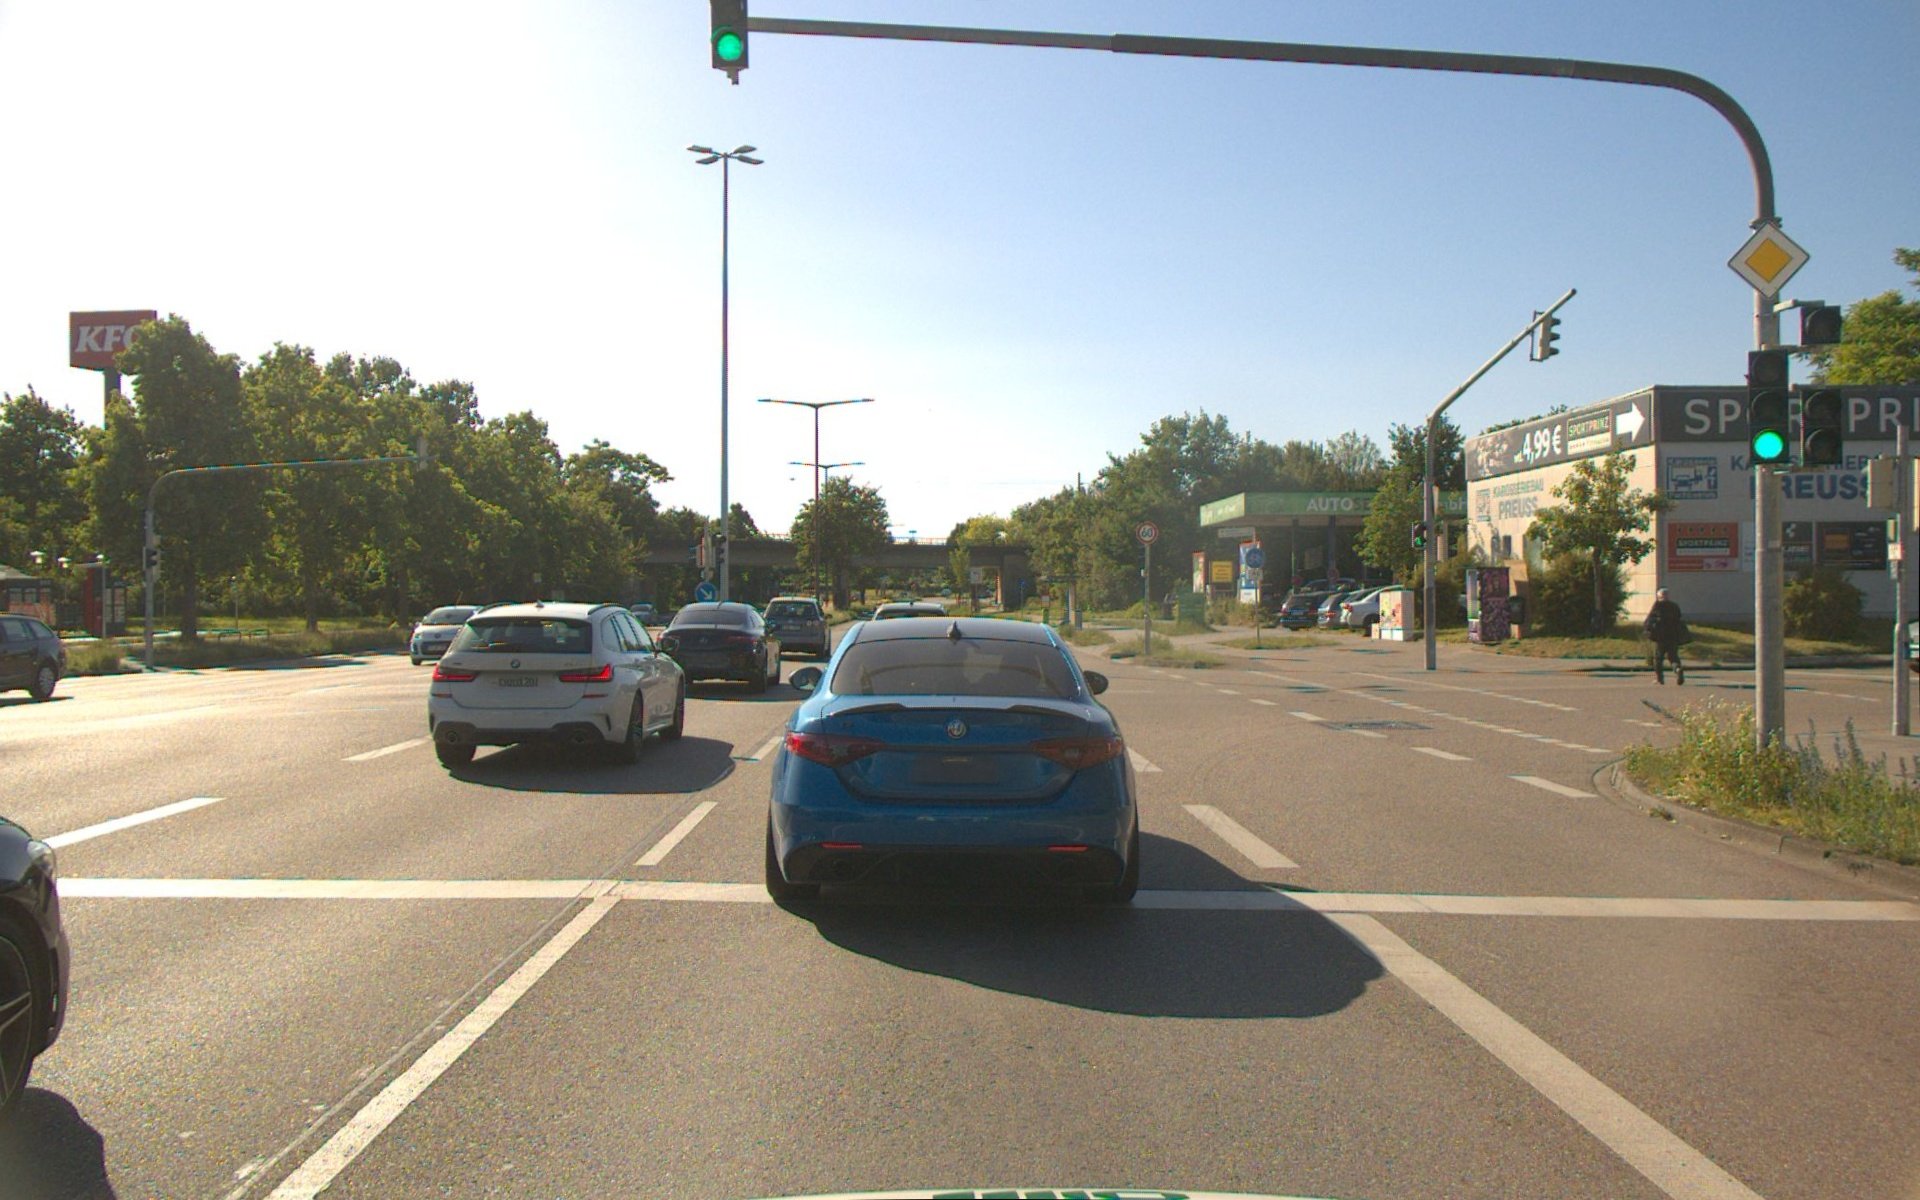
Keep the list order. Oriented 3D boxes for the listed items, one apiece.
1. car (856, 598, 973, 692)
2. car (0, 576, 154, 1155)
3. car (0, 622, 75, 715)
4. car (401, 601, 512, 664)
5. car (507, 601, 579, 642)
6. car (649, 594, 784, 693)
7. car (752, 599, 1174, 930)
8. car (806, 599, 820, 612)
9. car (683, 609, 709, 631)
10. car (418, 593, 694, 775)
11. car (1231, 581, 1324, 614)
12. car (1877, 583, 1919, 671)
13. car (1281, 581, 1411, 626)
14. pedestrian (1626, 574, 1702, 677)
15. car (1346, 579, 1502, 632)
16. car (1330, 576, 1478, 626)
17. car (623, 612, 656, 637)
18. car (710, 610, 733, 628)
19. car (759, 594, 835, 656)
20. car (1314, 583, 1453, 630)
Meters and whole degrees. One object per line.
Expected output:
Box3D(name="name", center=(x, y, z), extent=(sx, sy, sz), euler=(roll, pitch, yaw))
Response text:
Box3D(name="car", center=(-0.793, 0.729, 28.112), extent=(1.813, 1.443, 4.401), euler=(1, -1, -2))
Box3D(name="car", center=(-3.313, 0.690, 3.015), extent=(1.724, 1.516, 4.400), euler=(-1, -1, -3))
Box3D(name="car", center=(-16.729, 1.170, 27.421), extent=(1.723, 1.516, 4.477), euler=(-2, 0, -1))
Box3D(name="car", center=(-13.075, 0.825, 43.124), extent=(1.723, 1.516, 3.836), euler=(-2, 0, -1))
Box3D(name="car", center=(-17.550, 0.893, 69.774), extent=(1.948, 1.658, 4.477), euler=(-2, 0, -1))
Box3D(name="car", center=(-4.035, 0.701, 28.065), extent=(1.760, 1.516, 4.473), euler=(1, -1, -2))
Box3D(name="car", center=(-0.059, 0.760, 9.557), extent=(1.857, 1.443, 4.401), euler=(1, -1, -2))
Box3D(name="car", center=(-19.917, 0.788, 223.833), extent=(1.539, 1.646, 3.999), euler=(1, -1, -1))
Box3D(name="car", center=(-20.815, 1.547, 130.468), extent=(1.577, 1.675, 3.461), euler=(1, -1, -1))
Box3D(name="car", center=(-3.777, 0.741, 16.239), extent=(1.749, 1.516, 4.401), euler=(1, -1, -2))
Box3D(name="car", center=(16.329, -0.108, 85.187), extent=(4.458, 1.516, 1.765), euler=(-2, -1, 0))
Box3D(name="car", center=(19.669, 0.463, 30.828), extent=(4.201, 1.576, 1.764), euler=(-1, 1, -3))
Box3D(name="car", center=(14.366, 0.135, 61.734), extent=(4.397, 1.479, 1.858), euler=(-2, 0, 0))
Box3D(name="pedestrian", center=(12.351, 0.441, 29.044), extent=(0.906, 1.766, 0.938), euler=(1, -1, -1))
Box3D(name="car", center=(14.630, 0.184, 52.298), extent=(4.397, 1.479, 1.858), euler=(-2, 0, 0))
Box3D(name="car", center=(14.725, 0.042, 54.982), extent=(4.397, 1.479, 1.858), euler=(-2, 0, 0))
Box3D(name="car", center=(-21.093, 1.616, 108.914), extent=(1.583, 1.587, 3.356), euler=(1, -1, -1))
Box3D(name="car", center=(-21.966, 1.754, 152.370), extent=(1.577, 1.675, 3.461), euler=(1, -1, -1))
Box3D(name="car", center=(-4.278, 0.655, 43.968), extent=(1.724, 1.516, 4.401), euler=(1, -1, -2))
Box3D(name="car", center=(14.793, 0.232, 57.932), extent=(4.397, 1.479, 1.858), euler=(-2, 0, 0))
